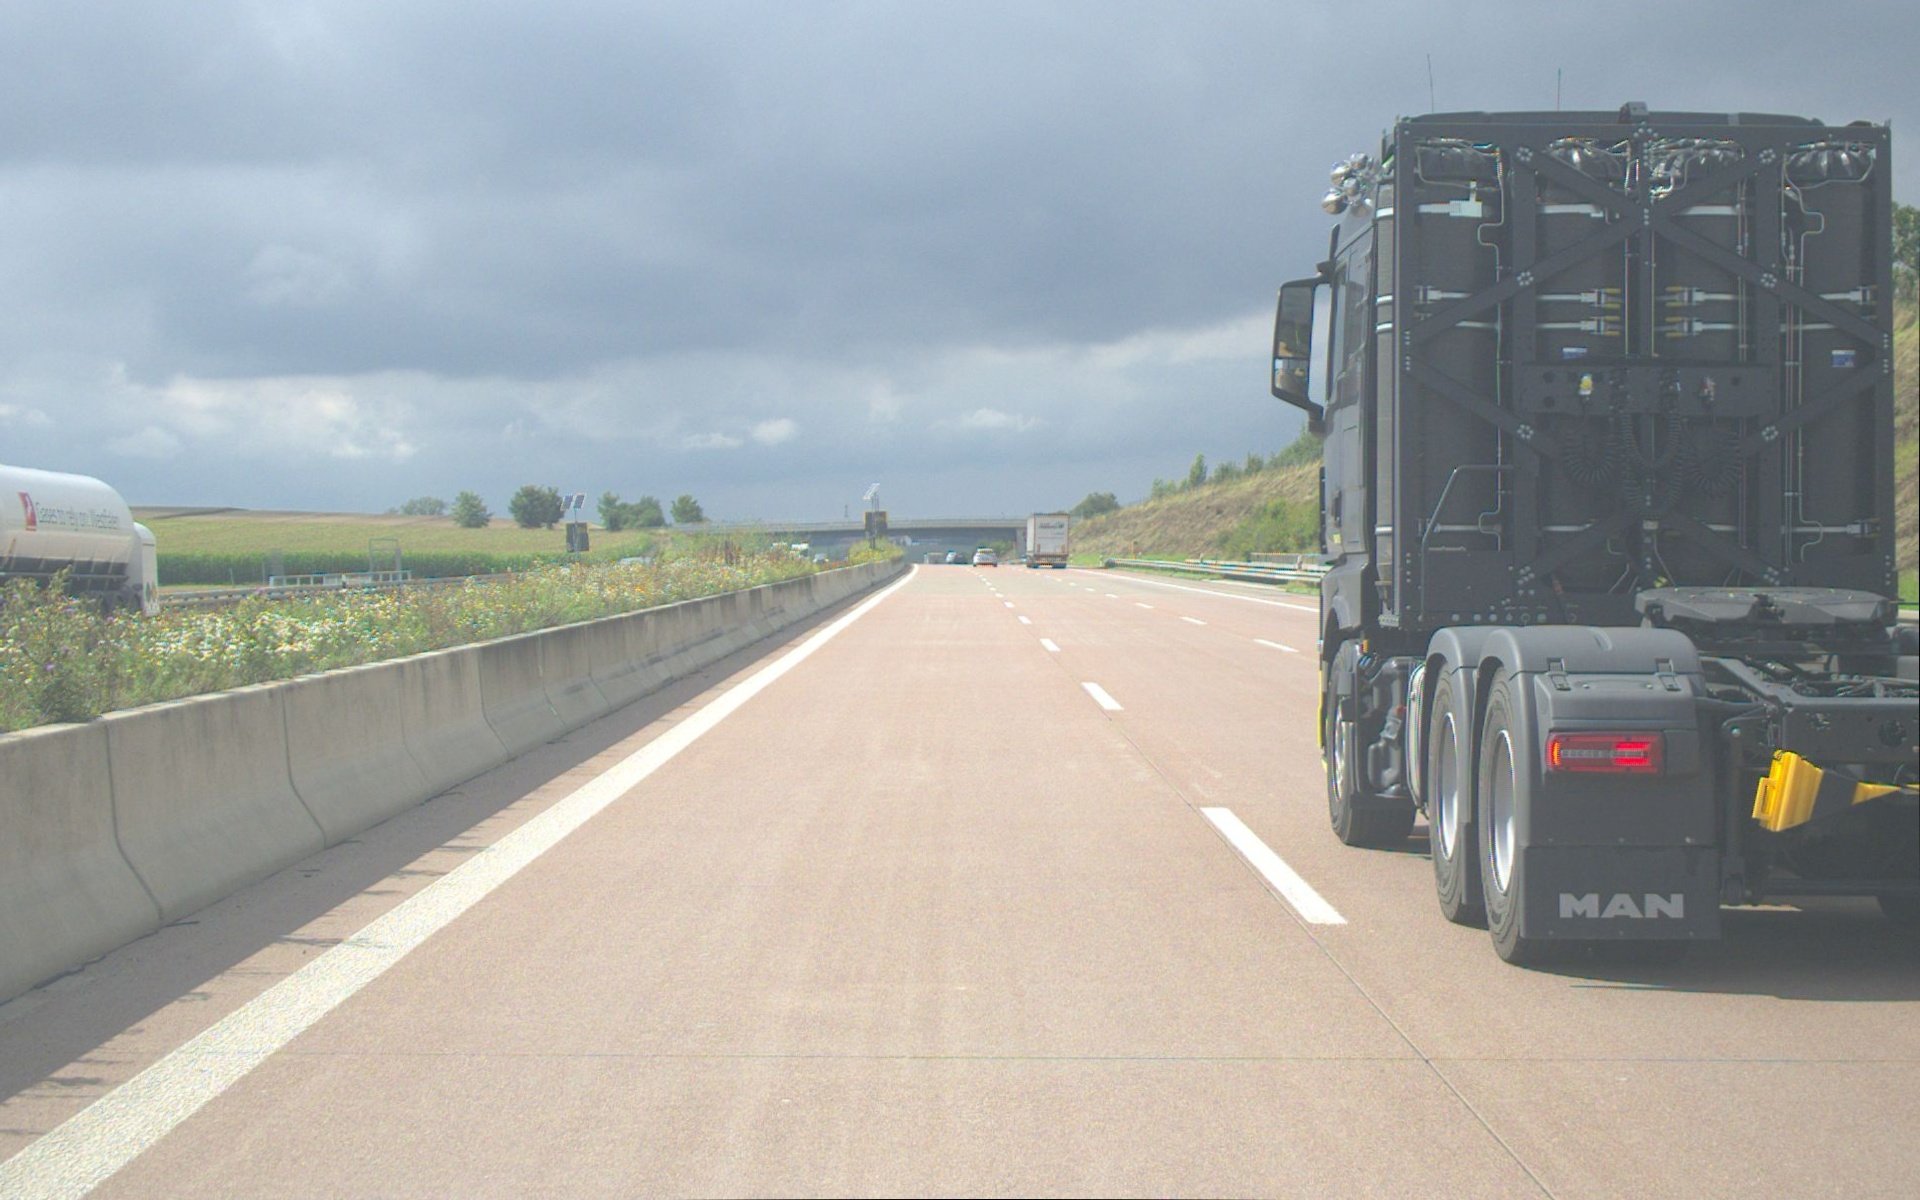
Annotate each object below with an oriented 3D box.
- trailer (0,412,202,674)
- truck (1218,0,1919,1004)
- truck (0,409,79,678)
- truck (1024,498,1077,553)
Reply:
[{"bbox_3d":[-15.926,-0.963,59.505,2.892,4.084,11.037,-2,1,1],"label":"trailer"},{"bbox_3d":[3.018,-0.513,15.279,2.847,3.537,8.320,1,1,-2],"label":"truck"},{"bbox_3d":[-16.002,-0.832,53.159,2.891,4.084,6.335,-2,1,1],"label":"truck"},{"bbox_3d":[6.698,-5.566,256.114,3.617,3.932,11.174,1,1,1],"label":"truck"}]
